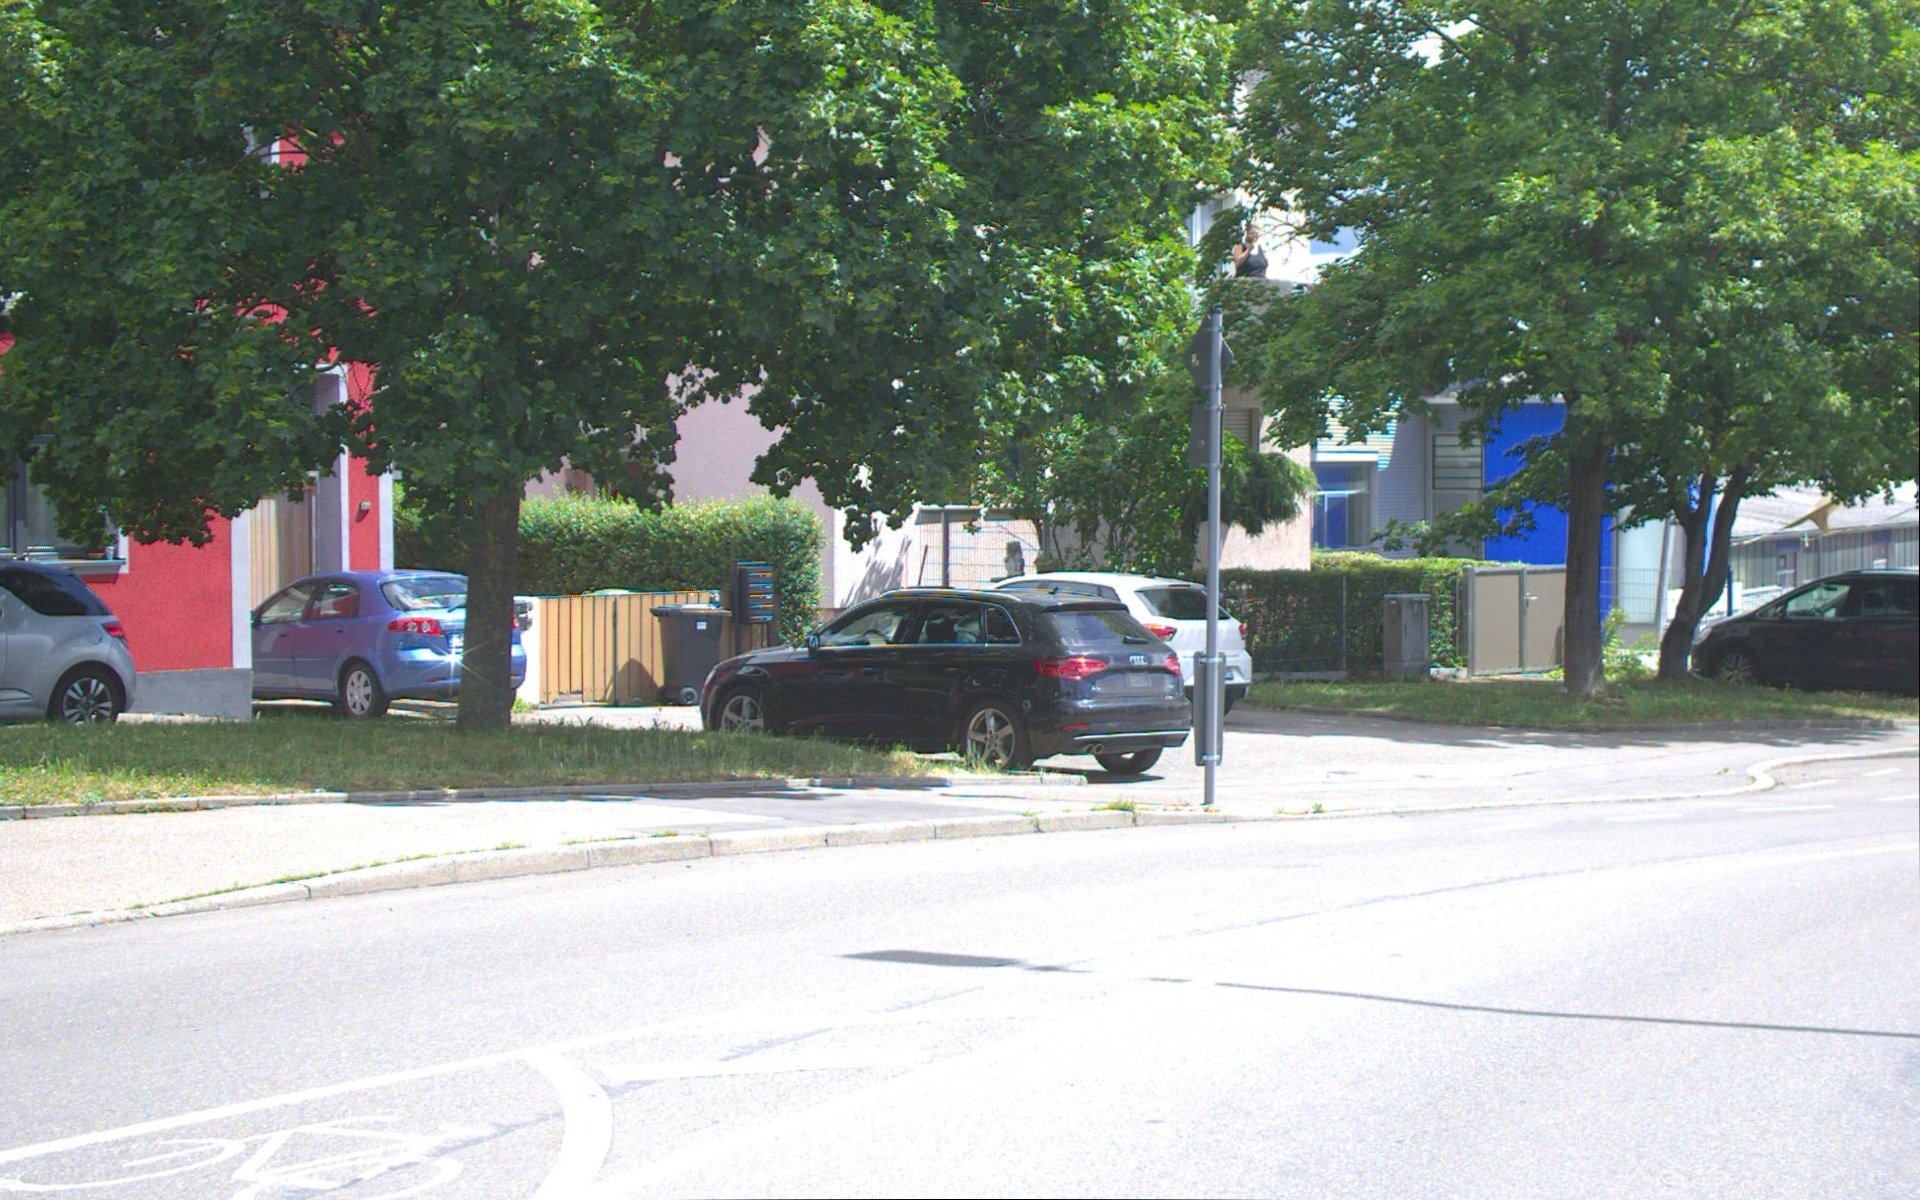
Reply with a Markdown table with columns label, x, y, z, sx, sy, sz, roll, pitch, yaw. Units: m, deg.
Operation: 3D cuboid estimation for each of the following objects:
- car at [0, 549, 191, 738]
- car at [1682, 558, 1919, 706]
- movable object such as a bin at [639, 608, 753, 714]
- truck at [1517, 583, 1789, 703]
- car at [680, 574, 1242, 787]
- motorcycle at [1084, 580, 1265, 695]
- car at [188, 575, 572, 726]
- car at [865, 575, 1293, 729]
| label | x | y | z | sx | sy | sz | roll | pitch | yaw |
| --- | --- | --- | --- | --- | --- | --- | --- | --- | --- |
| car | -8.205 | 0.318 | 26.767 | 1.644 | 1.420 | 4.067 | 3 | 2 | 43 |
| car | 11.742 | 0.446 | 43.407 | 4.711 | 1.710 | 1.995 | 3 | 0 | 44 |
| movable object such as a bin | -2.760 | 0.636 | 35.985 | 0.878 | 1.058 | 0.758 | 1 | 1 | -42 |
| truck | 16.030 | 1.005 | 79.624 | 5.791 | 2.697 | 2.173 | -1 | -2 | 31 |
| car | -0.056 | 0.576 | 26.867 | 4.141 | 1.388 | 1.995 | 3 | 2 | 44 |
| motorcycle | 2.592 | 0.450 | 41.290 | 0.920 | 1.311 | 2.230 | 3 | 1 | 42 |
| car | -5.747 | 0.457 | 33.854 | 3.811 | 1.373 | 1.838 | 1 | 1 | 45 |
| car | 1.151 | 0.484 | 34.163 | 3.928 | 1.399 | 1.871 | 1 | 0 | 41 |
